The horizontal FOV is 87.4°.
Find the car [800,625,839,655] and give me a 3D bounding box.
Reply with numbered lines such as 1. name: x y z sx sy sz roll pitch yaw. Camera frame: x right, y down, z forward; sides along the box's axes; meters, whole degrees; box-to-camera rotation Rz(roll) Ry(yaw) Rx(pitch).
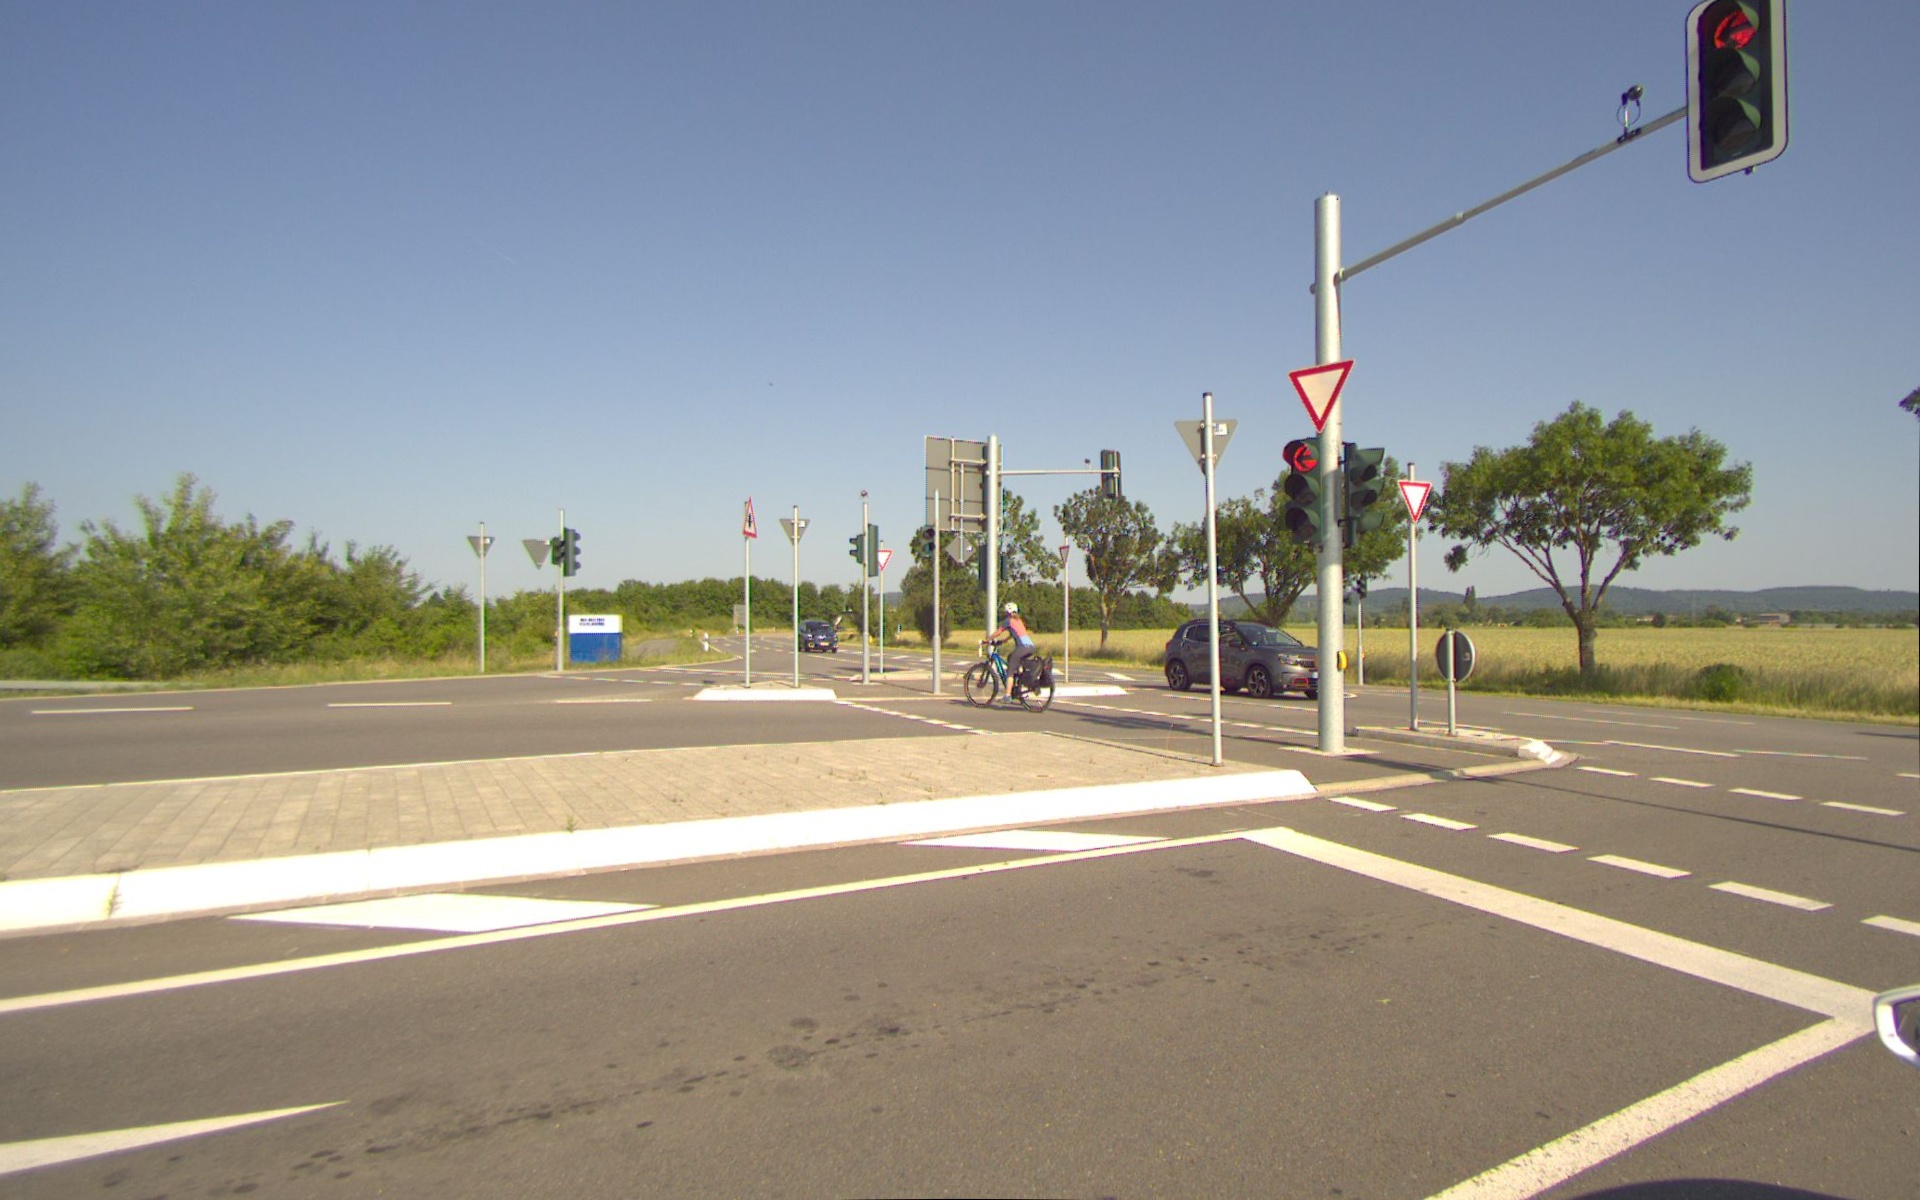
1. car: -8.055 2.299 57.465 1.740 1.578 3.843 2 -3 -15

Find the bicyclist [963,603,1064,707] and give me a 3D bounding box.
1. bicyclist: 0.874 0.863 16.593 1.153 1.623 1.271 0 0 -34

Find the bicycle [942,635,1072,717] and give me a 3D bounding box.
1. bicycle: 0.740 1.209 16.472 0.883 1.202 2.136 3 -1 -42

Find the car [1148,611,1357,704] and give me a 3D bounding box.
1. car: 6.372 1.204 22.467 1.972 1.746 4.591 2 0 -24
